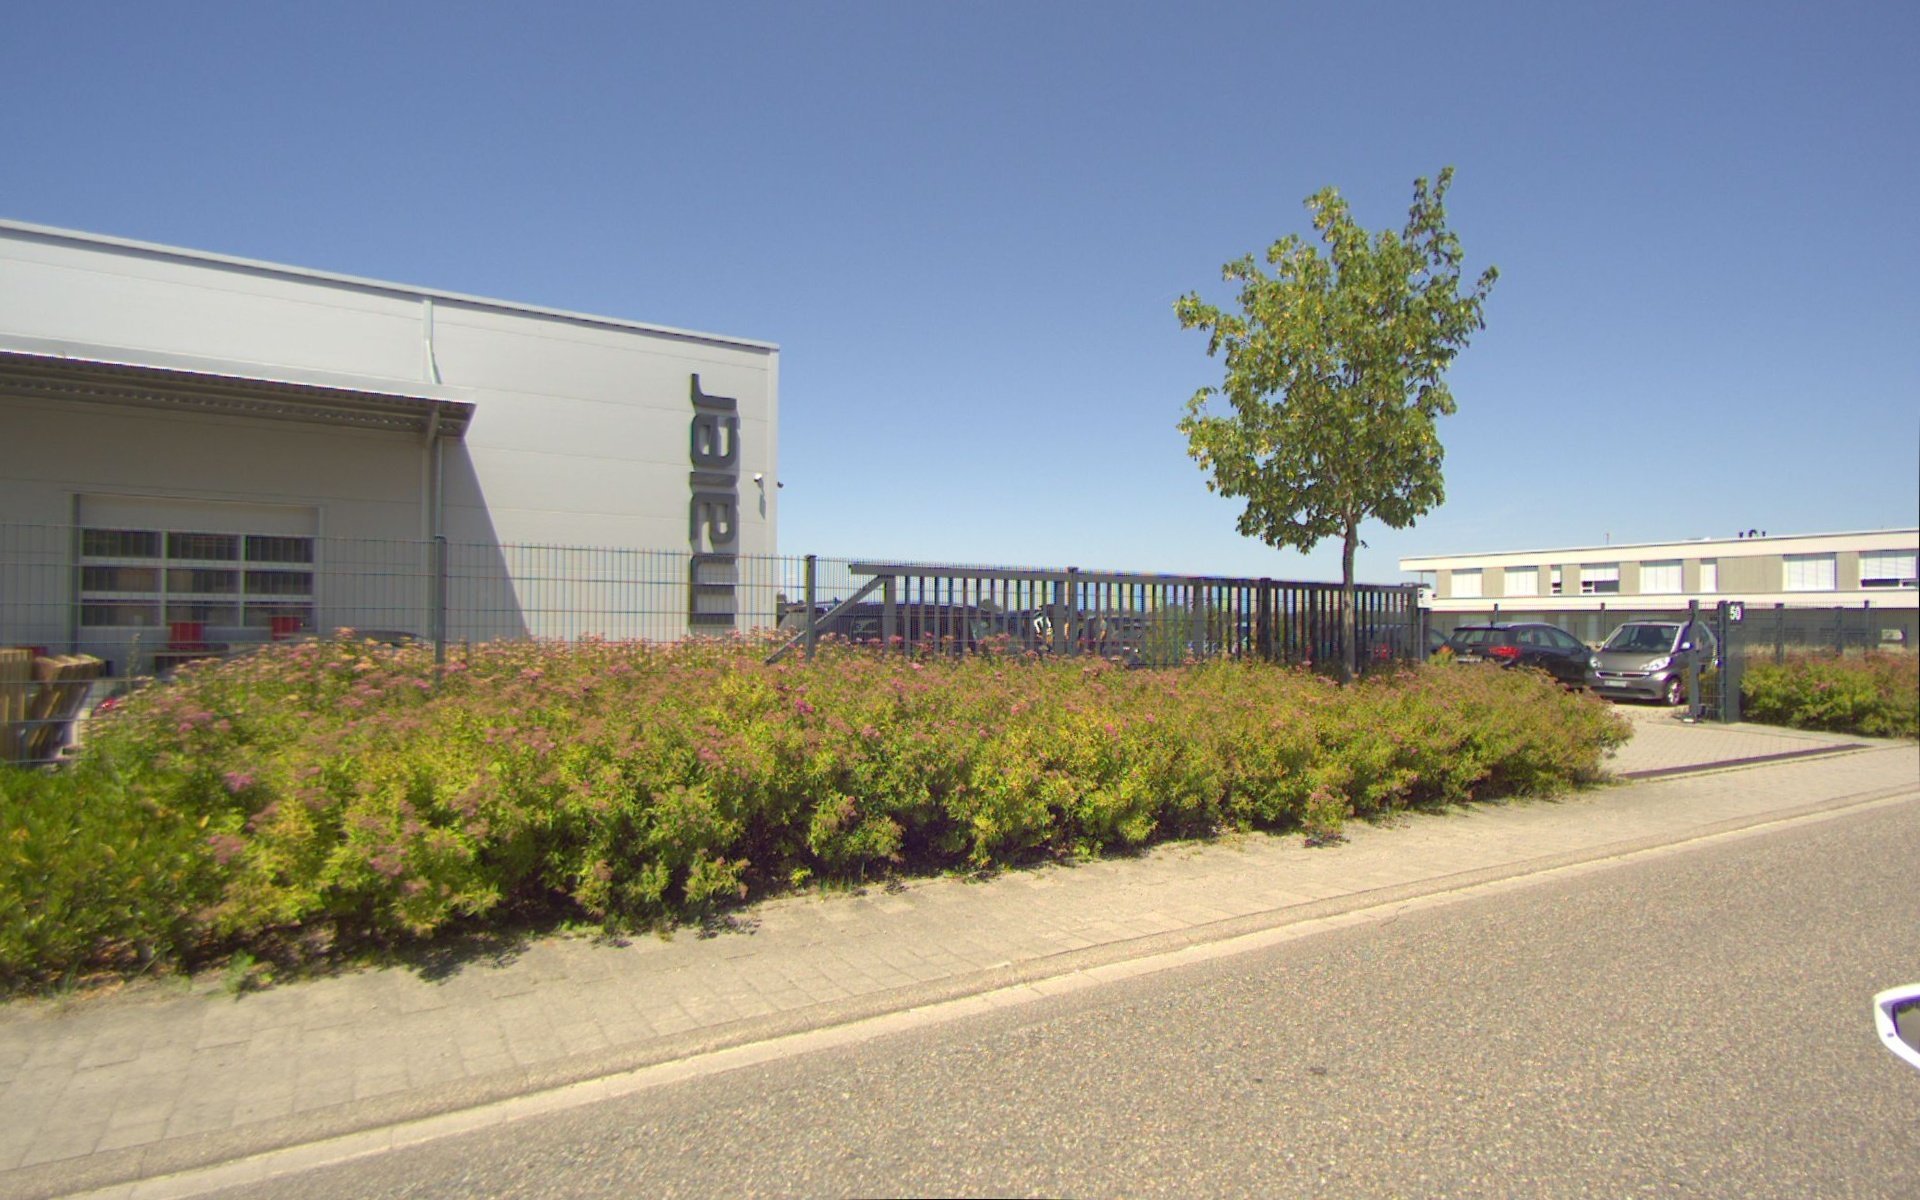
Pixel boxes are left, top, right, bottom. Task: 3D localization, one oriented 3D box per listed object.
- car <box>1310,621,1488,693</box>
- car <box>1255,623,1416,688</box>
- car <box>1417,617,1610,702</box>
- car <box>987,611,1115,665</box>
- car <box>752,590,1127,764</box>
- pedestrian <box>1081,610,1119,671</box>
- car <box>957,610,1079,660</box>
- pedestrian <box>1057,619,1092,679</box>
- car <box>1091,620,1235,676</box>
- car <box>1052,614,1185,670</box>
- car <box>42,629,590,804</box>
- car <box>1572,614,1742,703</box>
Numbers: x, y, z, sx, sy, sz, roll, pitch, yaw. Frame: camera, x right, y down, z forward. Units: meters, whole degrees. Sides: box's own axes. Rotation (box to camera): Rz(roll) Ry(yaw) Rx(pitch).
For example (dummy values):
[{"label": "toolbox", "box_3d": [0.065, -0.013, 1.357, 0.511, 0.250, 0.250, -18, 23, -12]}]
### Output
[{"label": "car", "box_3d": [9.754, 1.196, 22.262, 3.958, 1.459, 1.791, 1, -1, -34]}, {"label": "car", "box_3d": [9.108, 1.288, 24.281, 3.958, 1.459, 1.662, 1, -1, -34]}, {"label": "car", "box_3d": [11.199, 1.134, 20.266, 3.958, 1.561, 1.814, 1, -1, -34]}, {"label": "car", "box_3d": [2.951, 1.198, 32.202, 3.958, 1.626, 1.662, 1, -2, -34]}, {"label": "car", "box_3d": [-0.219, 0.820, 11.983, 4.042, 1.746, 1.985, 1, -1, -30]}, {"label": "pedestrian", "box_3d": [3.994, 1.145, 28.723, 0.823, 1.705, 0.704, 1, -1, -39]}, {"label": "car", "box_3d": [2.015, 1.167, 34.209, 3.958, 1.627, 1.661, 1, -1, -34]}, {"label": "pedestrian", "box_3d": [3.203, 1.356, 28.052, 0.770, 1.650, 0.613, 1, -1, -45]}, {"label": "car", "box_3d": [5.697, 1.294, 28.073, 3.958, 1.459, 1.662, 1, -1, -34]}, {"label": "car", "box_3d": [4.851, 1.250, 30.606, 3.958, 1.627, 1.662, 1, -1, -34]}, {"label": "car", "box_3d": [-5.695, 0.937, 9.408, 3.953, 1.298, 1.788, 1, -1, -30]}, {"label": "car", "box_3d": [13.225, 1.054, 19.047, 2.966, 1.540, 1.690, 1, -1, -34]}]
